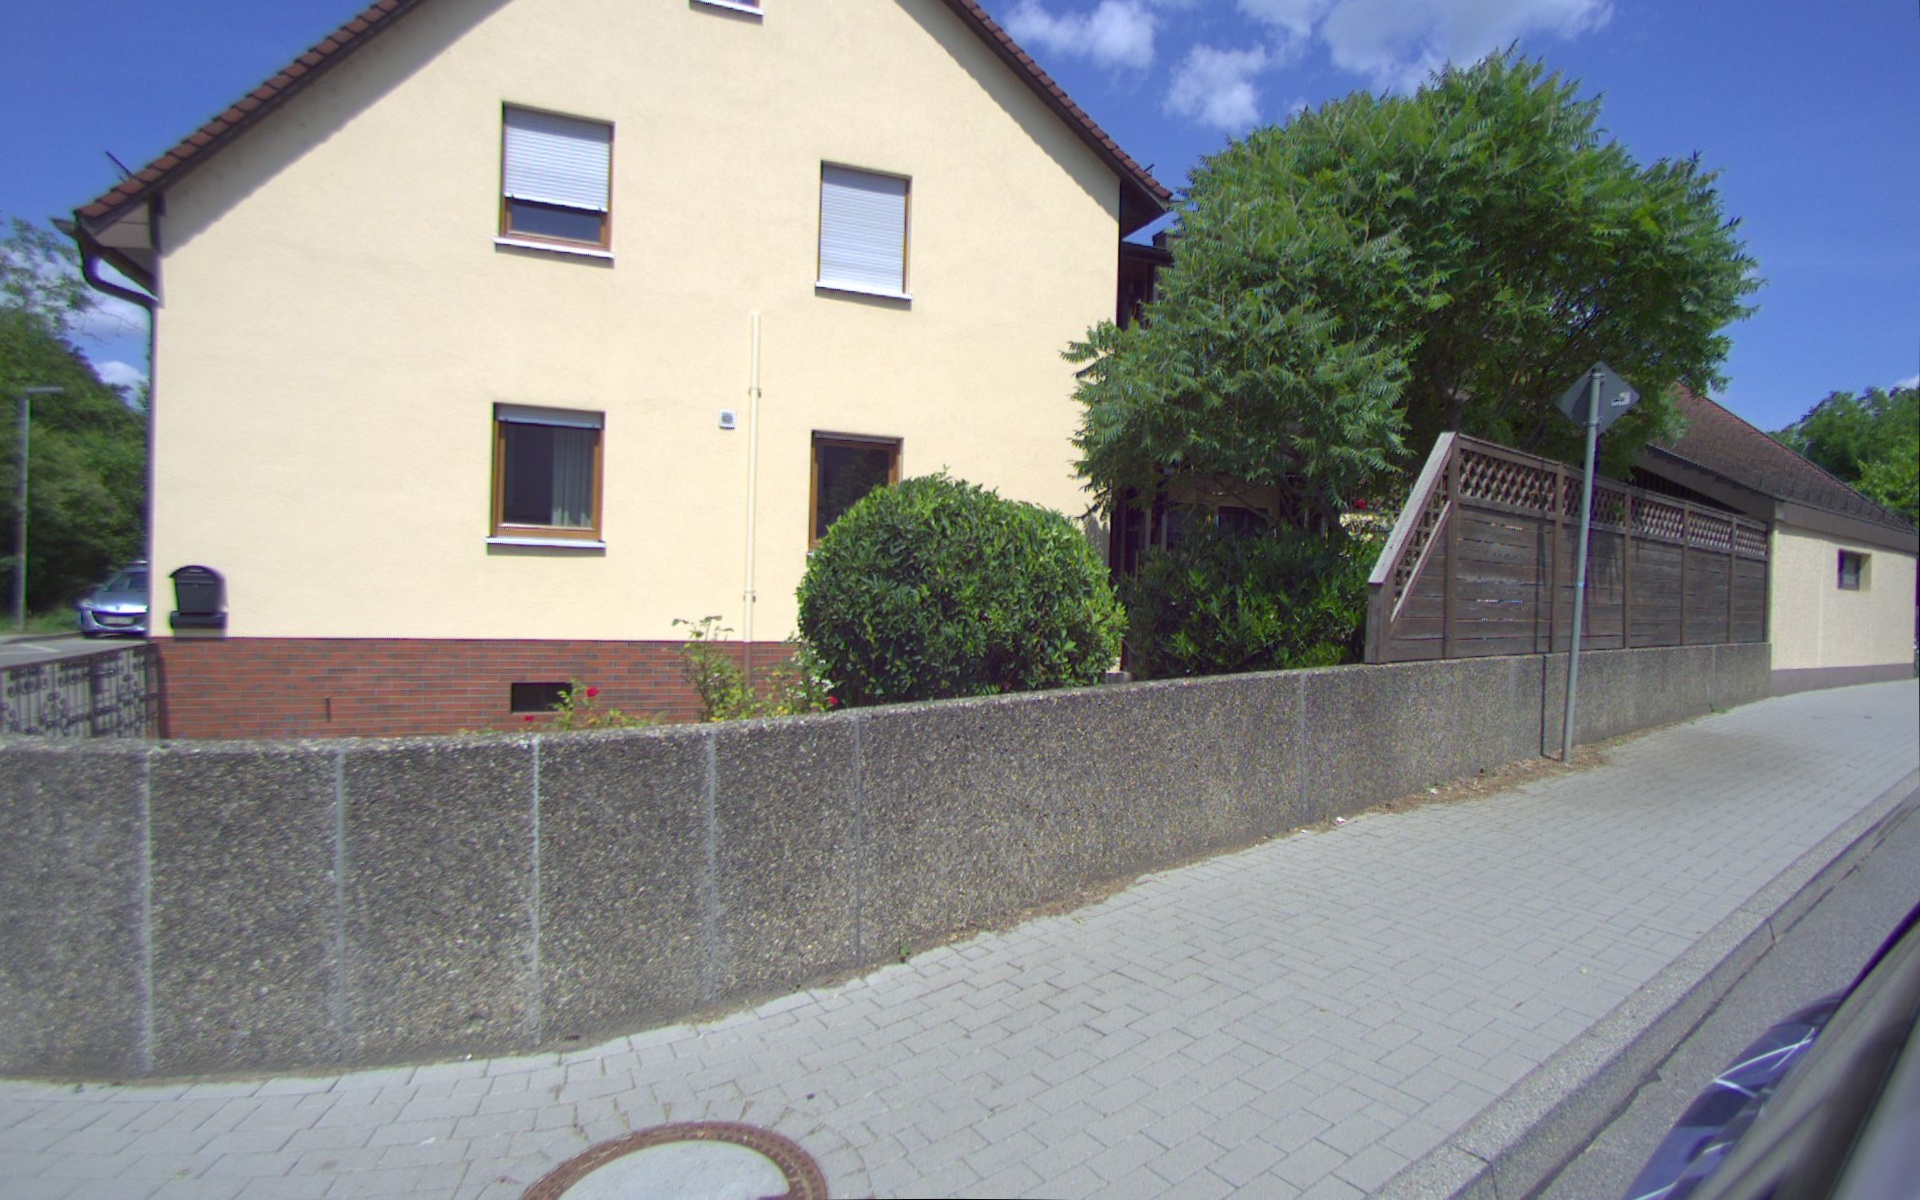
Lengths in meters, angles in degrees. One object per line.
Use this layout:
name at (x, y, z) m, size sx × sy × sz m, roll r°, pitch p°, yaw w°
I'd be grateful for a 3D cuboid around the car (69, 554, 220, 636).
car at (-18.762, -0.140, 23.492) m, size 1.788 × 1.718 × 4.267 m, roll 1°, pitch 1°, yaw -26°
